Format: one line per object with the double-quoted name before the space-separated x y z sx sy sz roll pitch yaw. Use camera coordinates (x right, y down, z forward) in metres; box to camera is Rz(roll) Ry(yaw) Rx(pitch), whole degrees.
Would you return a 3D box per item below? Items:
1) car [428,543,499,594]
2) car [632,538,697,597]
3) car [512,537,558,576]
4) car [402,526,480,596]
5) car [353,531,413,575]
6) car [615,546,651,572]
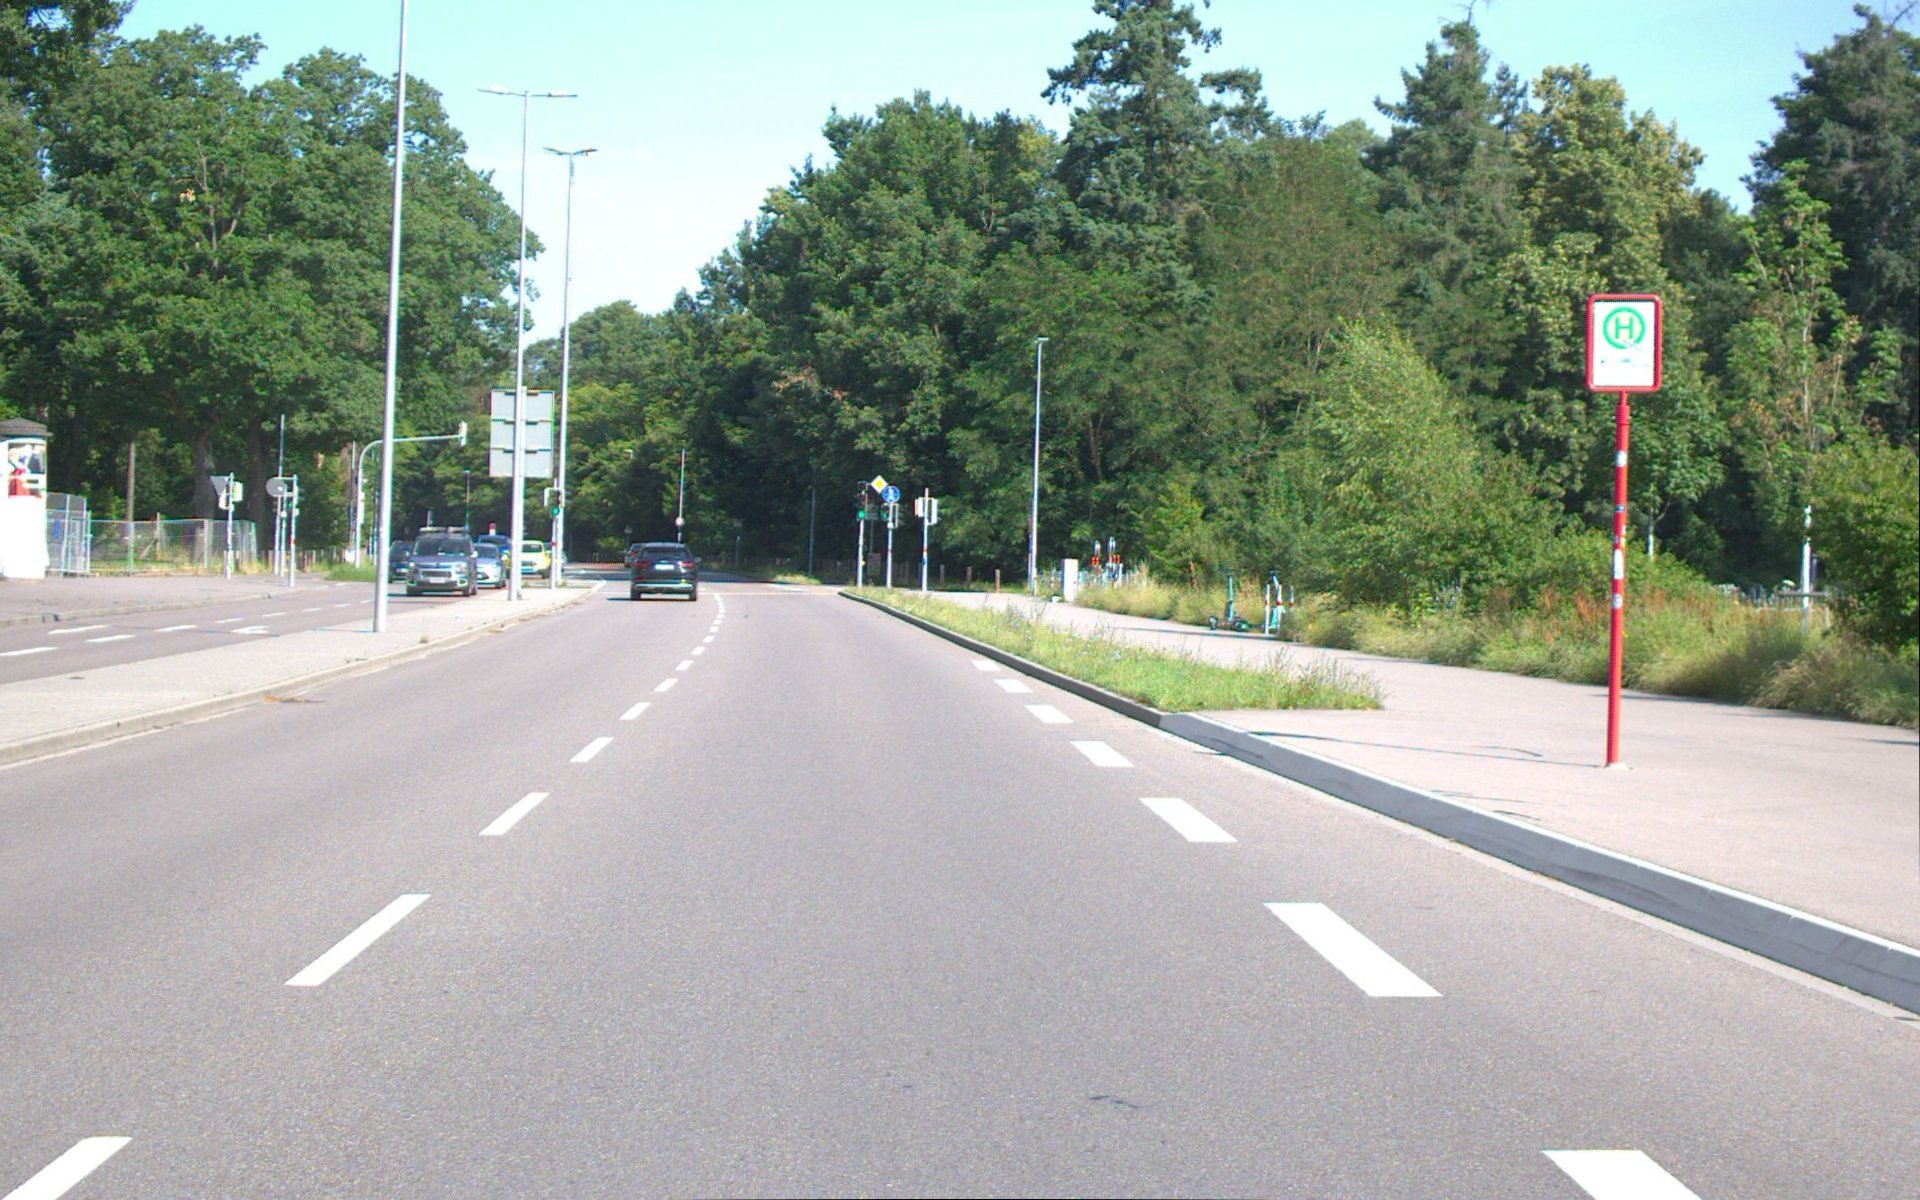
"car" -16.061 -1.035 111.314 1.909 1.579 4.001 2 1 -4
"car" -8.060 -0.903 93.957 1.687 1.539 4.149 1 1 -4
"car" -18.293 -1.878 148.056 1.845 1.612 4.001 2 1 -6
"car" -14.687 -1.111 97.468 1.841 1.925 4.630 1 1 -4
"car" -20.615 -1.690 122.969 1.793 1.473 4.001 2 1 -6
"car" -18.978 -2.372 199.432 1.940 1.415 4.294 2 1 -7
